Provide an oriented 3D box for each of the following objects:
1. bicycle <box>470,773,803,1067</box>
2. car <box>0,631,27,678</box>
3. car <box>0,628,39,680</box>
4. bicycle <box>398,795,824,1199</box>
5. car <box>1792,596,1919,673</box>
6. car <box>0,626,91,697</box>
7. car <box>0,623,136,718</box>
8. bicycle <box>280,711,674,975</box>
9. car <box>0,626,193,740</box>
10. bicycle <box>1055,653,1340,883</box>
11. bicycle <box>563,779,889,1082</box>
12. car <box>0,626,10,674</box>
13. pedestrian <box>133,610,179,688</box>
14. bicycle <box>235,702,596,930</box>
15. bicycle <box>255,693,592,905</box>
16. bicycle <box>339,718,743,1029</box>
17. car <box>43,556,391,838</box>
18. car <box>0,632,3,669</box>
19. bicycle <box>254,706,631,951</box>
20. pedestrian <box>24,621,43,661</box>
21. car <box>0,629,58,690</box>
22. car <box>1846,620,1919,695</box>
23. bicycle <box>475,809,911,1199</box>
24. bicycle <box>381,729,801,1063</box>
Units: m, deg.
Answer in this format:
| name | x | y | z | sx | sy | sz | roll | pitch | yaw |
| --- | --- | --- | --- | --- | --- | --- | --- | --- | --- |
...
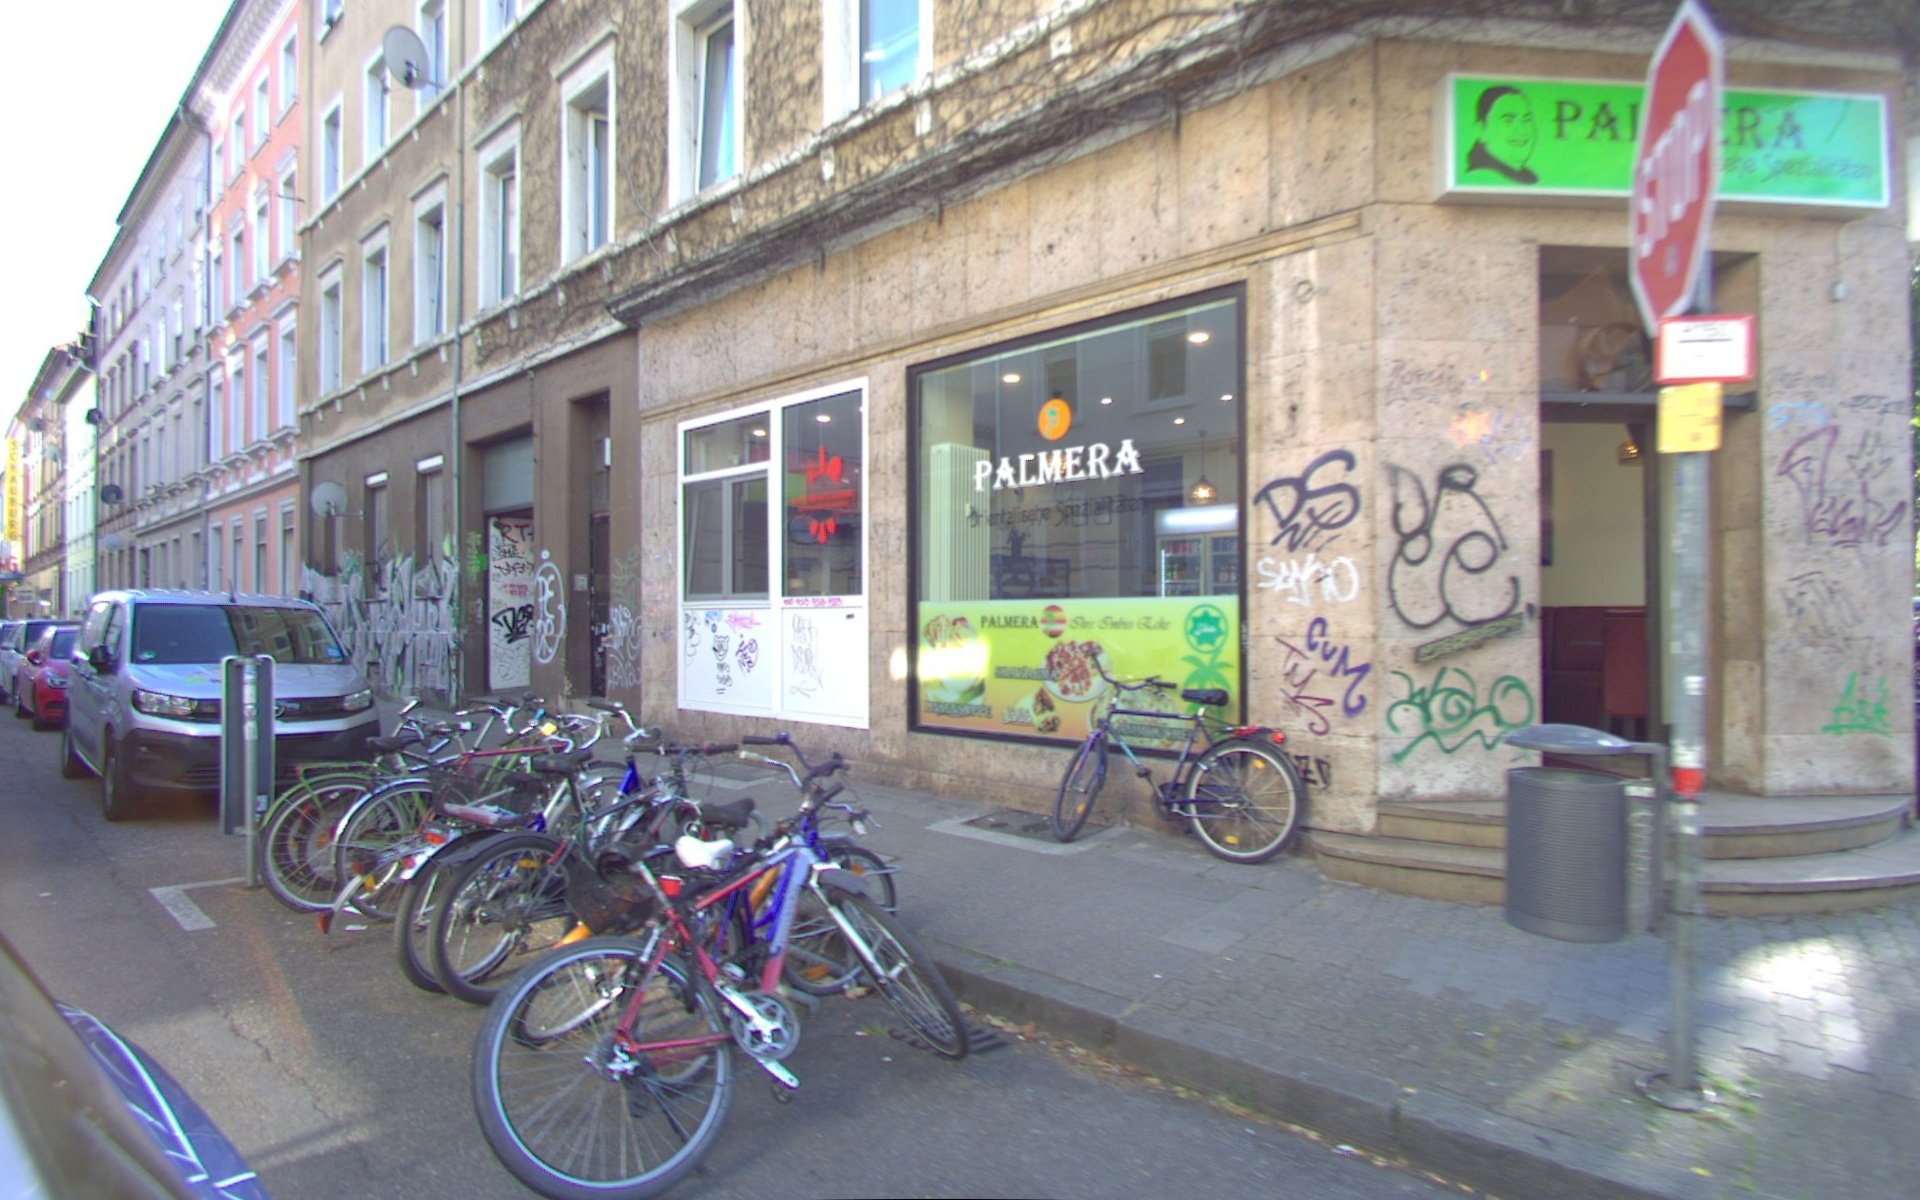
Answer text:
| name | x | y | z | sx | sy | sz | roll | pitch | yaw |
| --- | --- | --- | --- | --- | --- | --- | --- | --- | --- |
| bicycle | -1.211 | 1.175 | 4.025 | 0.380 | 0.824 | 1.298 | -2 | -4 | 33 |
| car | -31.985 | 1.762 | 33.272 | 3.860 | 1.474 | 1.660 | -2 | -2 | 44 |
| car | -28.426 | 1.569 | 29.974 | 1.659 | 1.474 | 3.864 | 1 | -2 | -42 |
| bicycle | -0.983 | 1.125 | 3.120 | 0.354 | 0.824 | 1.298 | -2 | -2 | 33 |
| car | 26.031 | 0.892 | 27.134 | 5.294 | 2.006 | 2.030 | -1 | -1 | 13 |
| car | -21.358 | 1.372 | 23.226 | 3.610 | 1.504 | 1.661 | -2 | -2 | 41 |
| car | -16.383 | 1.229 | 18.345 | 2.957 | 1.561 | 1.662 | -2 | -3 | 40 |
| bicycle | -2.320 | 1.112 | 5.071 | 0.443 | 0.969 | 1.746 | -2 | -2 | 42 |
| car | -13.065 | 1.165 | 15.208 | 4.202 | 1.485 | 1.661 | -2 | -4 | 42 |
| bicycle | 1.288 | 0.872 | 5.739 | 1.591 | 1.100 | 0.393 | -1 | -2 | 43 |
| bicycle | -0.843 | 1.200 | 3.996 | 0.361 | 0.824 | 1.375 | -2 | -4 | 33 |
| car | -35.893 | 1.811 | 36.875 | 3.860 | 1.696 | 1.660 | -2 | -2 | 44 |
| pedestrian | -19.416 | 1.171 | 24.447 | 0.594 | 1.844 | 0.780 | -2 | -1 | 43 |
| bicycle | -2.951 | 1.116 | 5.660 | 0.405 | 0.969 | 1.746 | -2 | -2 | 42 |
| bicycle | -3.149 | 1.113 | 6.099 | 0.463 | 0.996 | 1.746 | -2 | -2 | 42 |
| bicycle | -1.772 | 1.103 | 4.583 | 0.479 | 0.969 | 1.752 | -2 | -2 | 31 |
| car | -6.823 | 0.761 | 9.087 | 4.520 | 1.925 | 1.660 | -2 | -5 | 44 |
| car | -39.938 | 2.050 | 40.883 | 3.860 | 1.468 | 1.660 | -2 | -2 | 44 |
| bicycle | -2.648 | 1.115 | 5.370 | 0.422 | 0.969 | 1.746 | -2 | -2 | 42 |
| pedestrian | -43.947 | 1.943 | 48.020 | 0.595 | 1.844 | 0.618 | -2 | -1 | 44 |
| car | -24.903 | 1.511 | 26.441 | 4.313 | 1.474 | 1.660 | -2 | -2 | 44 |
| car | 21.132 | 1.139 | 20.392 | 4.599 | 1.502 | 1.681 | -1 | -2 | 14 |
| bicycle | -0.672 | 1.133 | 2.906 | 0.370 | 0.824 | 1.298 | -2 | -2 | 33 |
| bicycle | -1.451 | 1.121 | 4.317 | 0.427 | 0.969 | 1.749 | -2 | -2 | 35 |
